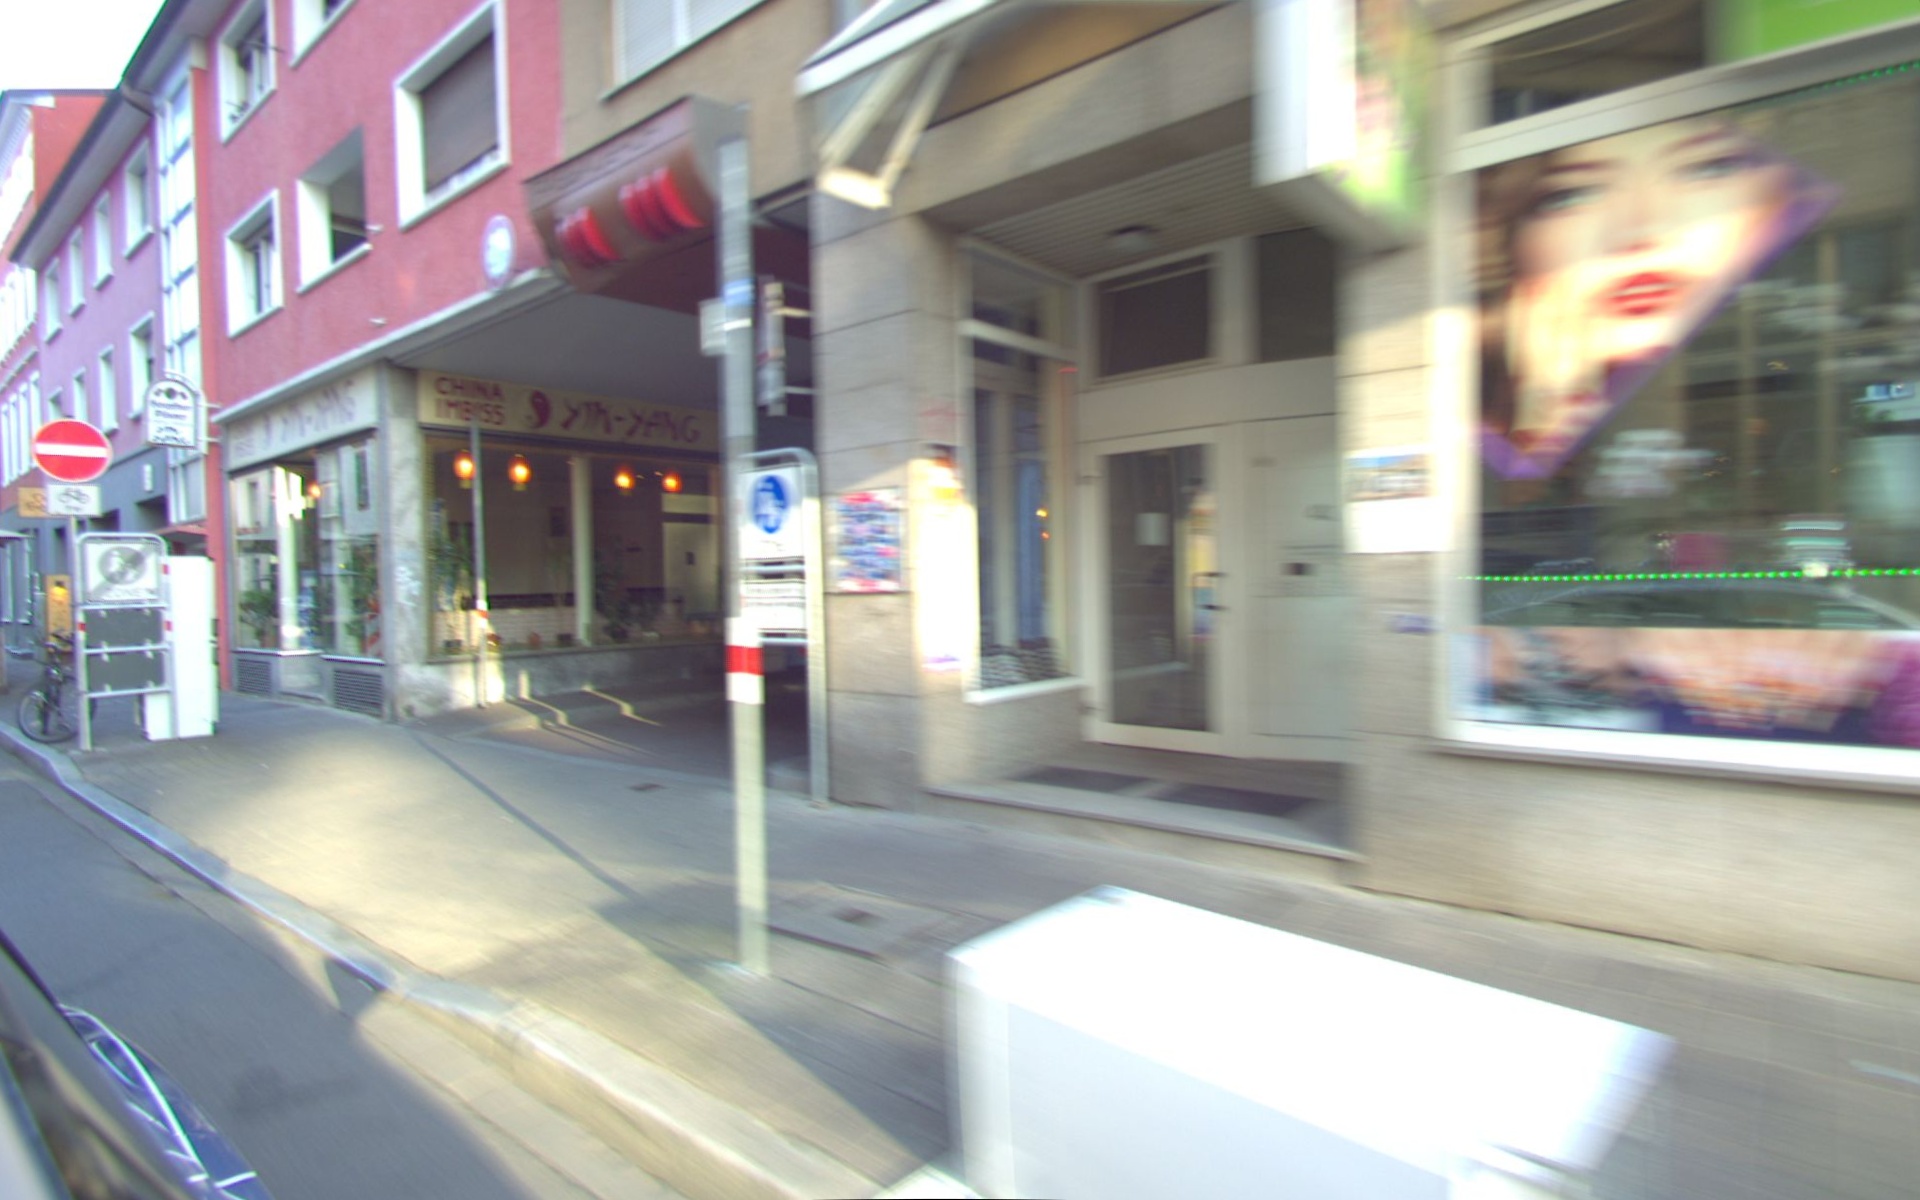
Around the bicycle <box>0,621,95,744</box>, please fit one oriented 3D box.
[{"bbox_3d":[-9.829,0.833,10.840,1.841,1.201,0.538,-1,1,40],"label":"bicycle"}]
